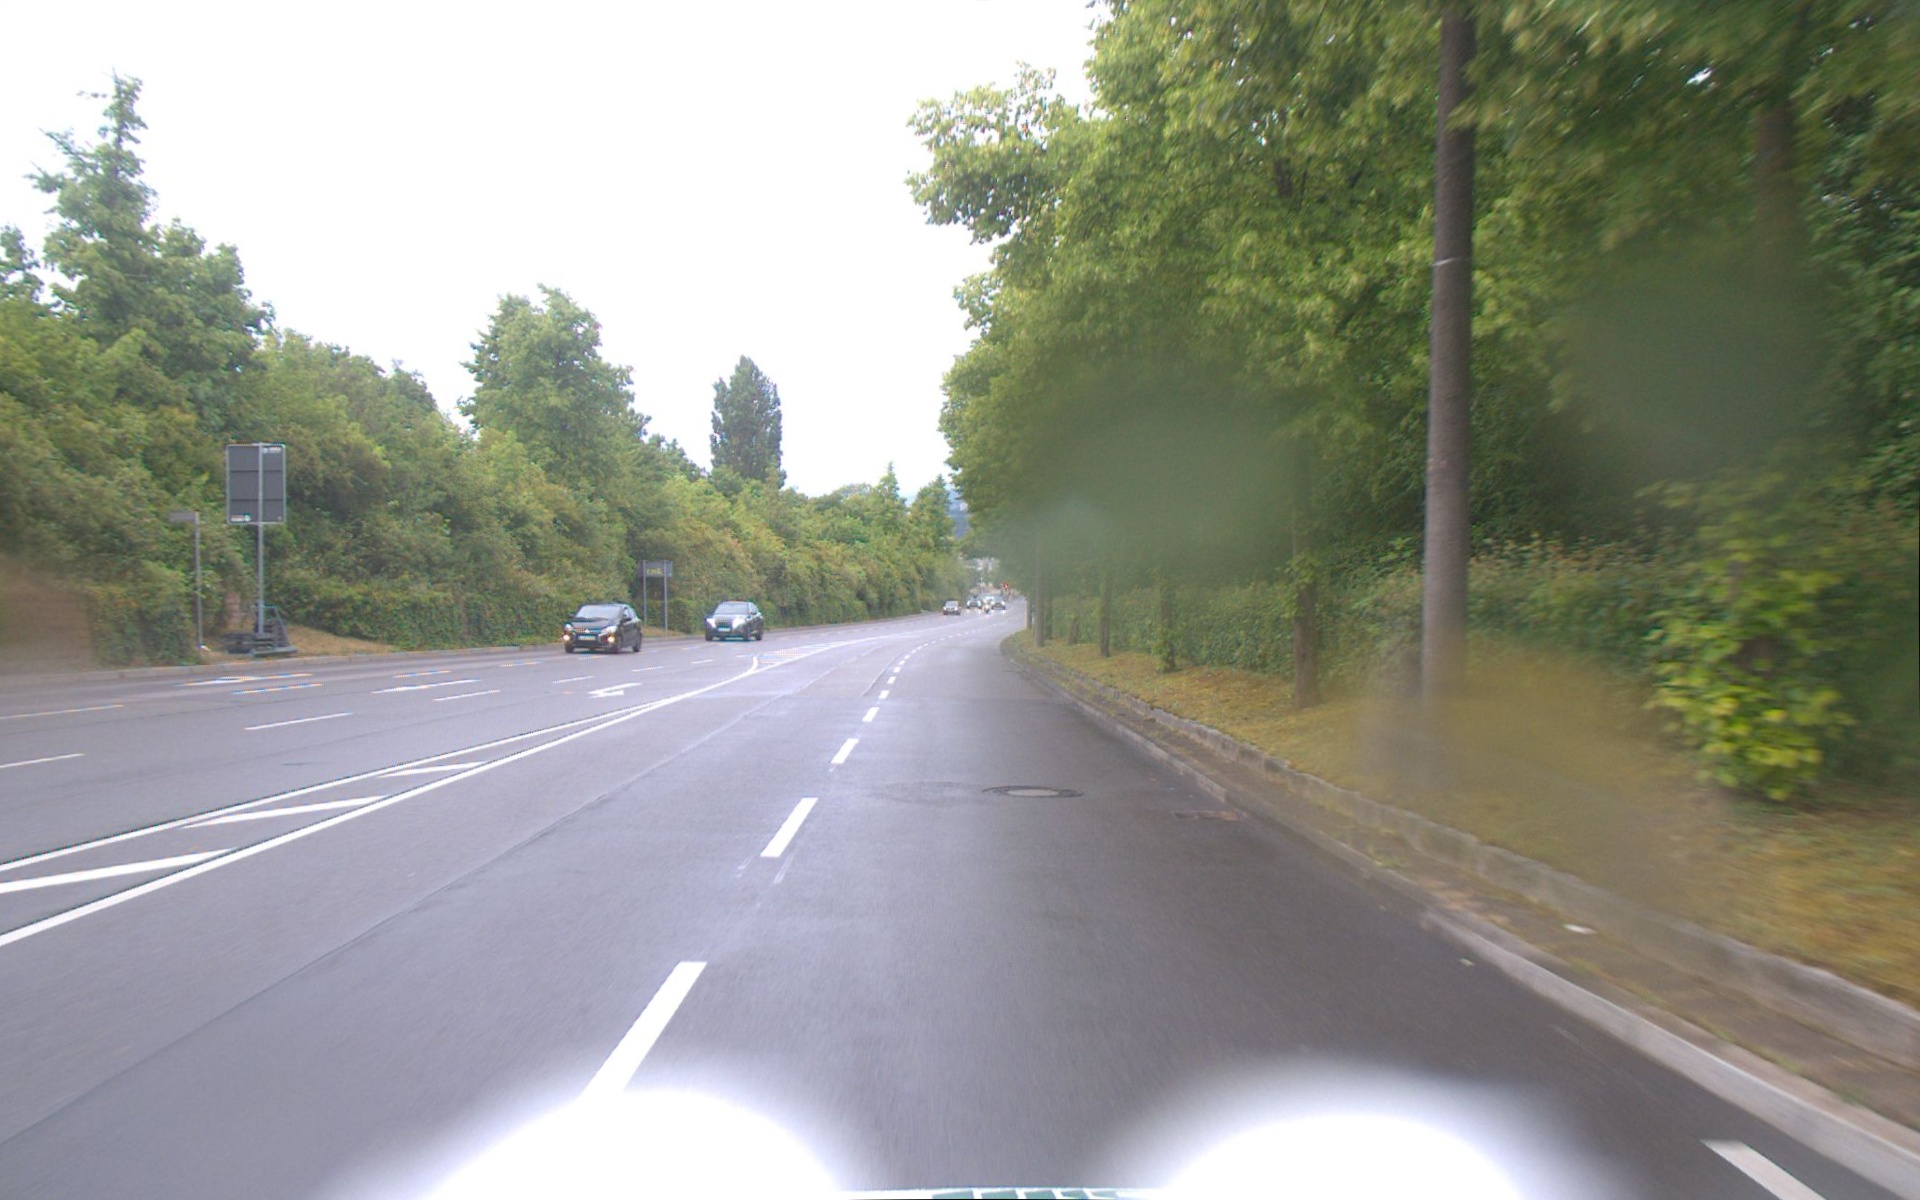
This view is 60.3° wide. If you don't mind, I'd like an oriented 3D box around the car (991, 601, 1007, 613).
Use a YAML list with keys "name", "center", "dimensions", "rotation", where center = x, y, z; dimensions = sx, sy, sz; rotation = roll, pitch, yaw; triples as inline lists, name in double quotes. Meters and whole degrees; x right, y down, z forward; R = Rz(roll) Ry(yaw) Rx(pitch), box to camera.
- name: "car"
  center: [5.261, 0.924, 223.515]
  dimensions: [1.825, 1.490, 3.895]
  rotation: [3, 0, 5]

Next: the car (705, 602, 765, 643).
- name: "car"
  center: [-9.477, 0.931, 69.923]
  dimensions: [1.826, 1.617, 3.893]
  rotation: [3, 0, 2]

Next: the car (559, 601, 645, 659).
- name: "car"
  center: [-10.709, 0.866, 49.672]
  dimensions: [1.690, 1.593, 3.892]
  rotation: [3, 0, 0]

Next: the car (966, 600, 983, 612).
- name: "car"
  center: [1.917, 0.742, 220.413]
  dimensions: [1.825, 1.490, 3.895]
  rotation: [3, 0, 5]

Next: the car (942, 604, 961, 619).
- name: "car"
  center: [-0.920, 1.179, 175.609]
  dimensions: [1.826, 1.490, 3.893]
  rotation: [3, 0, 2]
